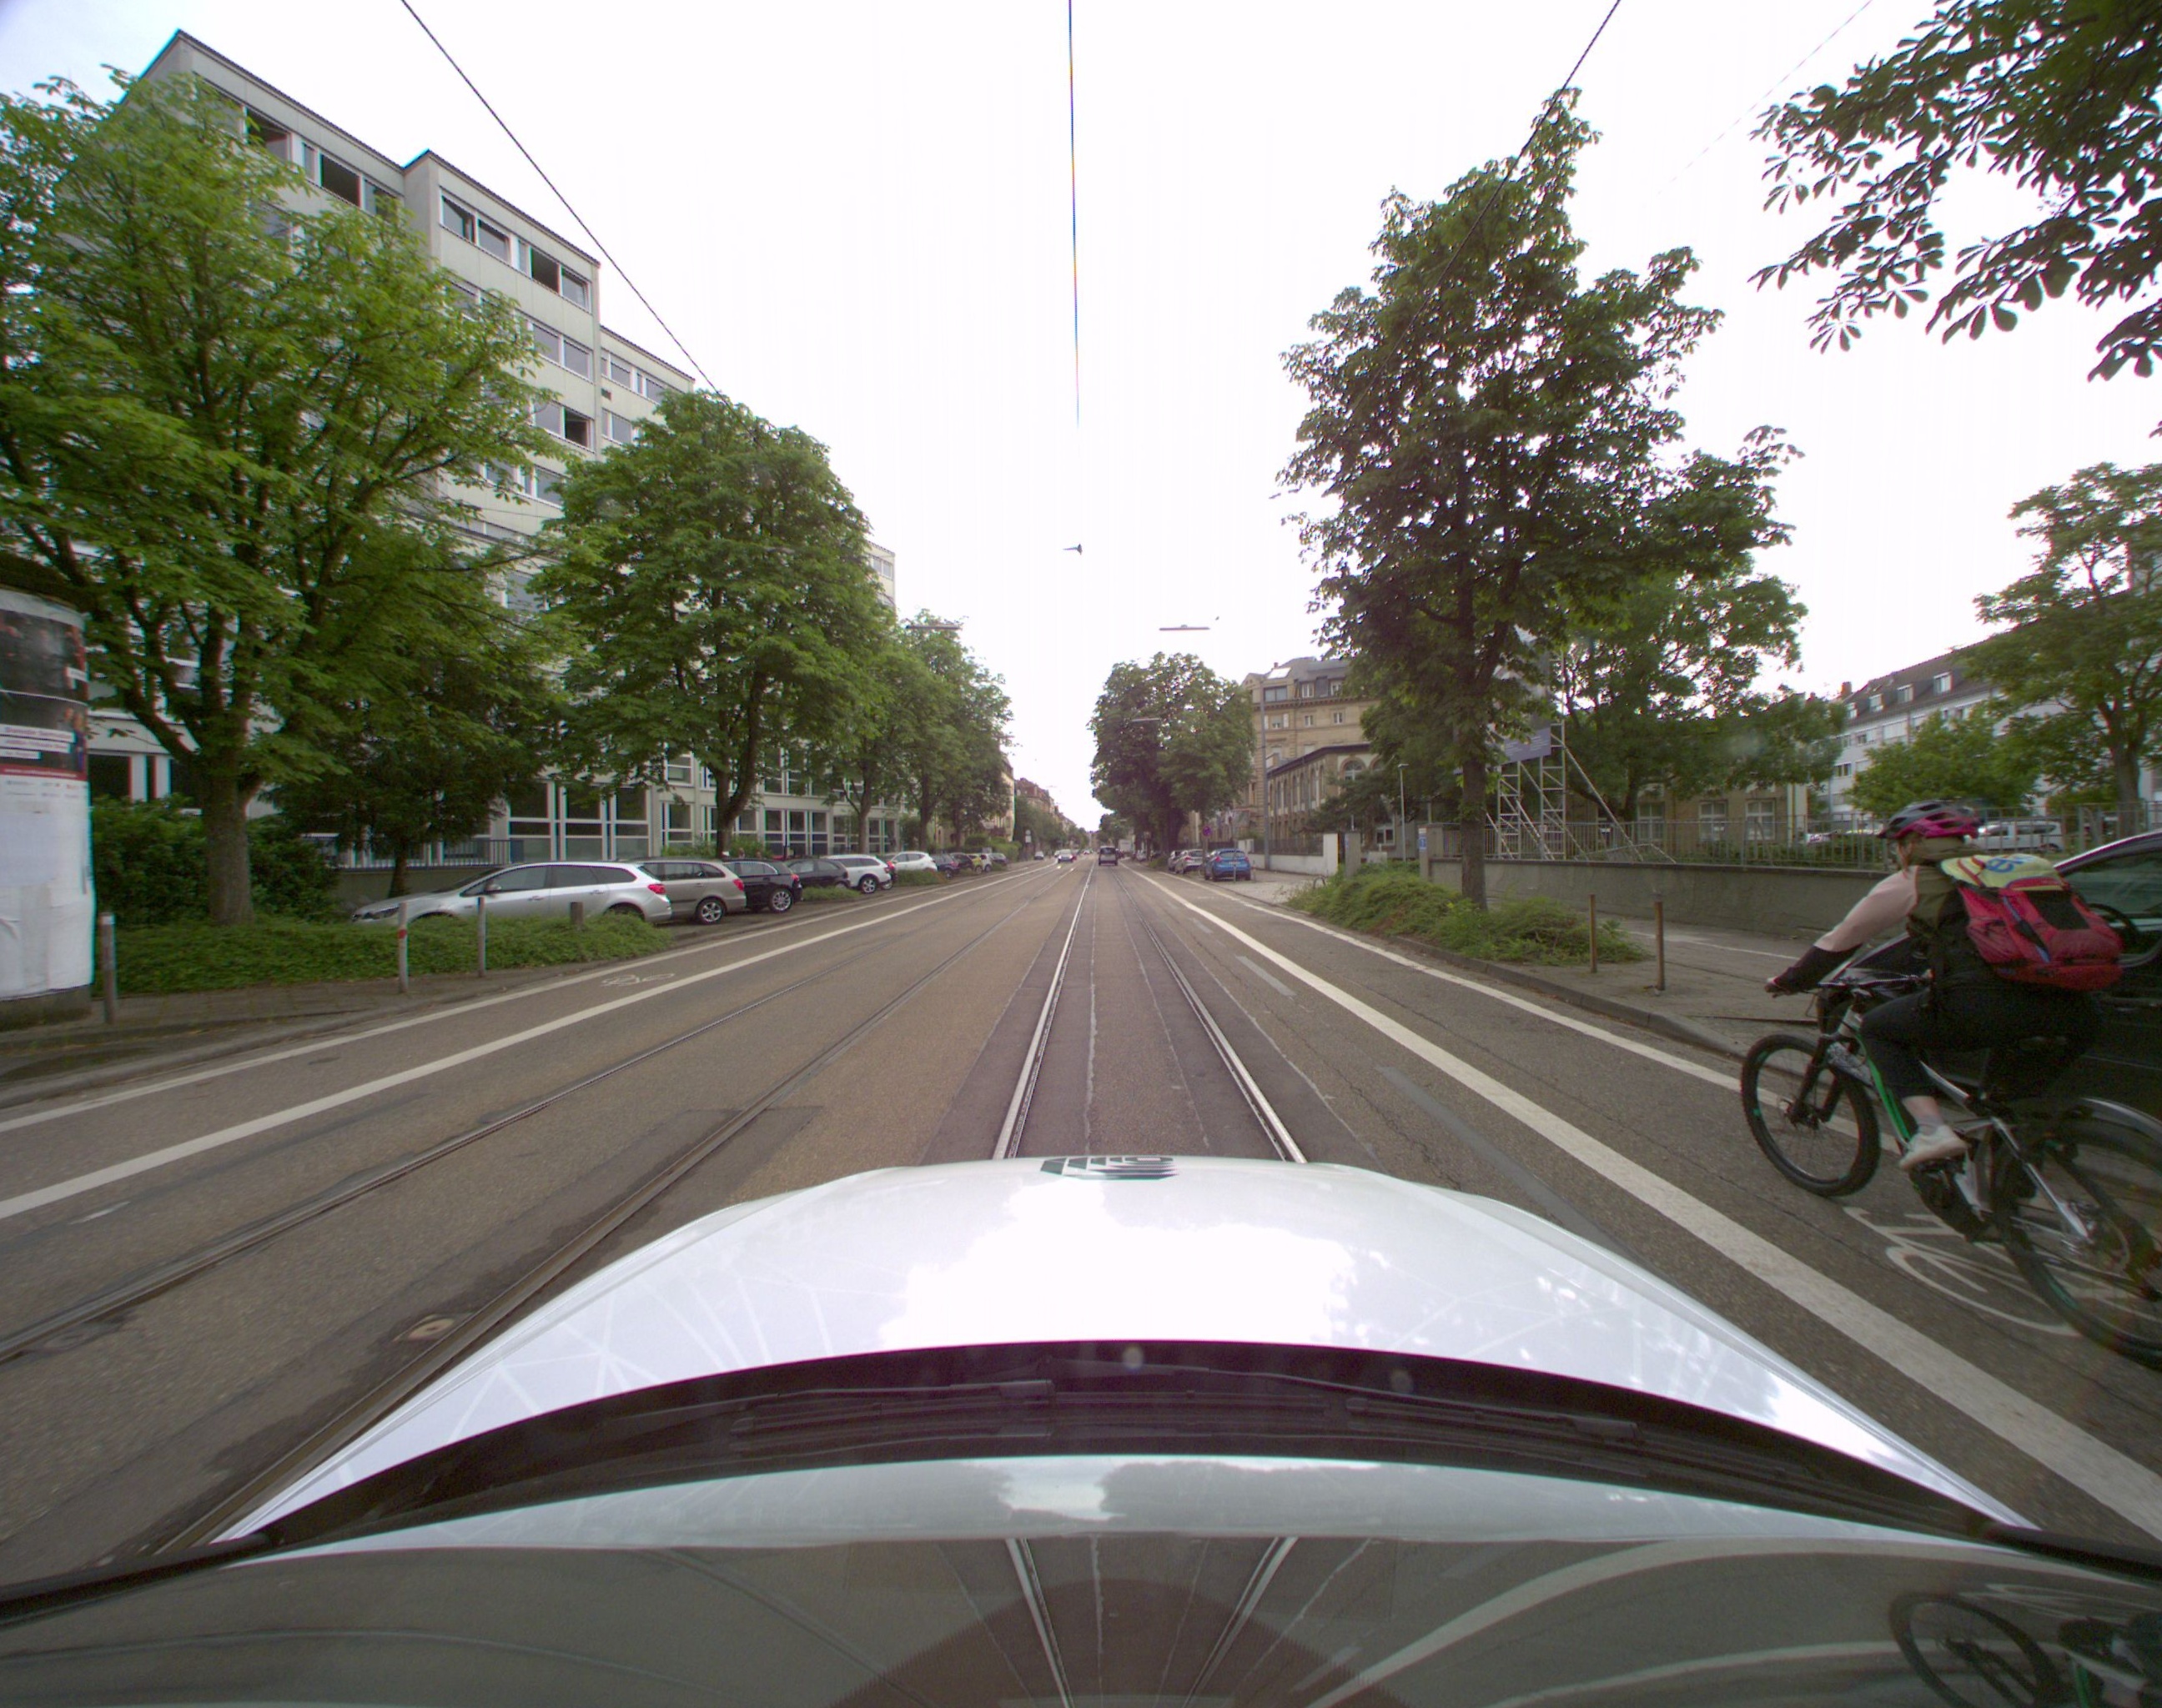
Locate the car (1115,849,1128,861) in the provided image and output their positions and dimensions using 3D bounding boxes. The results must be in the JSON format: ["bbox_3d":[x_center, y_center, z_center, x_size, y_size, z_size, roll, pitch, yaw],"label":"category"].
[{"bbox_3d":[6.373,0.117,128.119,1.985,1.794,4.003,-1,0,2],"label":"car"}]

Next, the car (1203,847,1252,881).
[{"bbox_3d":[6.649,0.420,37.250,1.668,1.460,3.433,0,0,1],"label":"car"}]

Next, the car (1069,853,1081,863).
[{"bbox_3d":[-0.845,0.604,122.604,1.670,1.522,2.783,0,0,2],"label":"car"}]

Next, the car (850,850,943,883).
[{"bbox_3d":[-9.160,0.576,40.758,1.678,1.556,4.373,0,0,42],"label":"car"}]

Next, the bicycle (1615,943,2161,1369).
[{"bbox_3d":[3.076,0.979,3.361,0.487,0.979,2.059,0,0,3],"label":"bicycle"}]

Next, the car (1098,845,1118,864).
[{"bbox_3d":[2.622,0.074,77.797,1.804,1.708,3.702,0,0,4],"label":"car"}]

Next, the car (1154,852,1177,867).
[{"bbox_3d":[7.309,0.460,70.737,1.865,1.251,4.004,-1,0,3],"label":"car"}]

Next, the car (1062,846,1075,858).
[{"bbox_3d":[-2.482,-0.466,168.008,2.195,2.417,4.006,-2,0,5],"label":"car"}]

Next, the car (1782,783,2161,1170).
[{"bbox_3d":[5.878,0.567,3.850,1.648,1.812,4.085,0,0,1],"label":"car"}]

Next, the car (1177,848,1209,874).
[{"bbox_3d":[6.724,0.378,49.191,1.470,1.481,3.566,0,0,1],"label":"car"}]

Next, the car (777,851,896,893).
[{"bbox_3d":[-9.268,0.643,31.005,4.047,1.484,1.681,0,0,-37],"label":"car"}]

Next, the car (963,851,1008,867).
[{"bbox_3d":[-8.665,0.434,73.725,3.723,1.386,1.687,0,0,-23],"label":"car"}]

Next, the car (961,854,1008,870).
[{"bbox_3d":[-8.397,0.671,70.846,3.723,1.386,1.687,0,0,-23],"label":"car"}]

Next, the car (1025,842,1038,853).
[{"bbox_3d":[-10.451,-1.424,172.928,2.169,2.207,4.221,-2,0,2],"label":"car"}]

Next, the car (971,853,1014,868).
[{"bbox_3d":[-8.392,0.619,76.918,3.723,1.386,1.687,0,0,-23],"label":"car"}]

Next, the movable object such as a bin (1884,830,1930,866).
[{"bbox_3d":[34.464,-0.254,33.991,1.042,1.450,1.363,-1,2,31],"label":"movable object such as a bin"}]

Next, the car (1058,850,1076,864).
[{"bbox_3d":[-1.708,0.346,97.670,1.893,1.530,3.756,-3,0,2],"label":"car"}]

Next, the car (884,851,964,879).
[{"bbox_3d":[-9.065,0.612,47.178,4.371,1.535,1.679,0,0,-44],"label":"car"}]

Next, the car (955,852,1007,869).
[{"bbox_3d":[-7.994,0.516,65.279,3.991,1.351,1.679,0,0,-44],"label":"car"}]

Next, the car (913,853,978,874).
[{"bbox_3d":[-8.903,0.592,53.773,3.991,1.351,1.679,0,0,-44],"label":"car"}]

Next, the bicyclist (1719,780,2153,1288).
[{"bbox_3d":[3.085,0.575,3.058,0.655,1.610,0.920,-1,0,2],"label":"bicyclist"}]

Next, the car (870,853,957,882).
[{"bbox_3d":[-8.973,0.700,43.903,4.371,1.454,1.679,0,0,-44],"label":"car"}]

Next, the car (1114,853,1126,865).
[{"bbox_3d":[7.200,0.868,149.606,1.987,2.013,3.999,-1,0,-1],"label":"car"}]

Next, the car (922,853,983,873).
[{"bbox_3d":[-8.945,0.605,56.986,3.991,1.351,1.679,0,0,-44],"label":"car"}]

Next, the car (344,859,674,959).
[{"bbox_3d":[-9.869,0.837,14.367,1.780,1.465,4.460,-1,0,41],"label":"car"}]

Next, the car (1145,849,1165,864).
[{"bbox_3d":[7.124,0.238,79.002,1.783,1.399,3.798,-1,0,3],"label":"car"}]

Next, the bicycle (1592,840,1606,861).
[{"bbox_3d":[29.709,-0.204,46.688,0.611,1.119,2.236,-1,0,34],"label":"bicycle"}]

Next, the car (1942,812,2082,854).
[{"bbox_3d":[47.154,-1.025,41.383,4.298,2.014,1.865,-1,0,24],"label":"car"}]

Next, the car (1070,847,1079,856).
[{"bbox_3d":[-1.694,-0.532,211.944,2.197,2.255,4.001,-2,0,1],"label":"car"}]

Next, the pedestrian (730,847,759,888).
[{"bbox_3d":[-13.375,0.538,32.386,0.746,1.611,0.738,0,-1,25],"label":"pedestrian"}]

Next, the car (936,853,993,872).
[{"bbox_3d":[-8.588,0.616,60.112,3.991,1.351,1.679,0,0,-44],"label":"car"}]

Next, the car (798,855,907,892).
[{"bbox_3d":[-9.456,0.773,33.814,4.047,1.405,1.681,0,0,-37],"label":"car"}]

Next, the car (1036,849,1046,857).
[{"bbox_3d":[-7.269,-0.134,147.642,1.637,1.354,3.874,0,0,-2],"label":"car"}]

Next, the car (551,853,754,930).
[{"bbox_3d":[-9.345,0.738,17.930,3.672,1.524,1.554,0,0,-43],"label":"car"}]

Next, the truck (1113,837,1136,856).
[{"bbox_3d":[9.513,-1.617,179.491,3.800,4.029,10.204,-1,0,-4],"label":"truck"}]

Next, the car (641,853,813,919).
[{"bbox_3d":[-9.052,0.755,21.003,3.726,1.524,1.679,0,0,-43],"label":"car"}]

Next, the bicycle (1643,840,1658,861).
[{"bbox_3d":[31.863,-0.223,45.579,0.611,1.119,2.236,-1,0,34],"label":"bicycle"}]

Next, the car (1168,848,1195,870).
[{"bbox_3d":[6.936,0.321,56.283,1.470,1.428,3.566,0,0,1],"label":"car"}]

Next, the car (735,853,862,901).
[{"bbox_3d":[-9.532,0.726,27.619,3.726,1.524,1.679,0,0,-43],"label":"car"}]

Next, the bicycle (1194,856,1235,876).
[{"bbox_3d":[6.853,0.626,41.965,2.007,0.957,0.533,-1,0,-3],"label":"bicycle"}]
